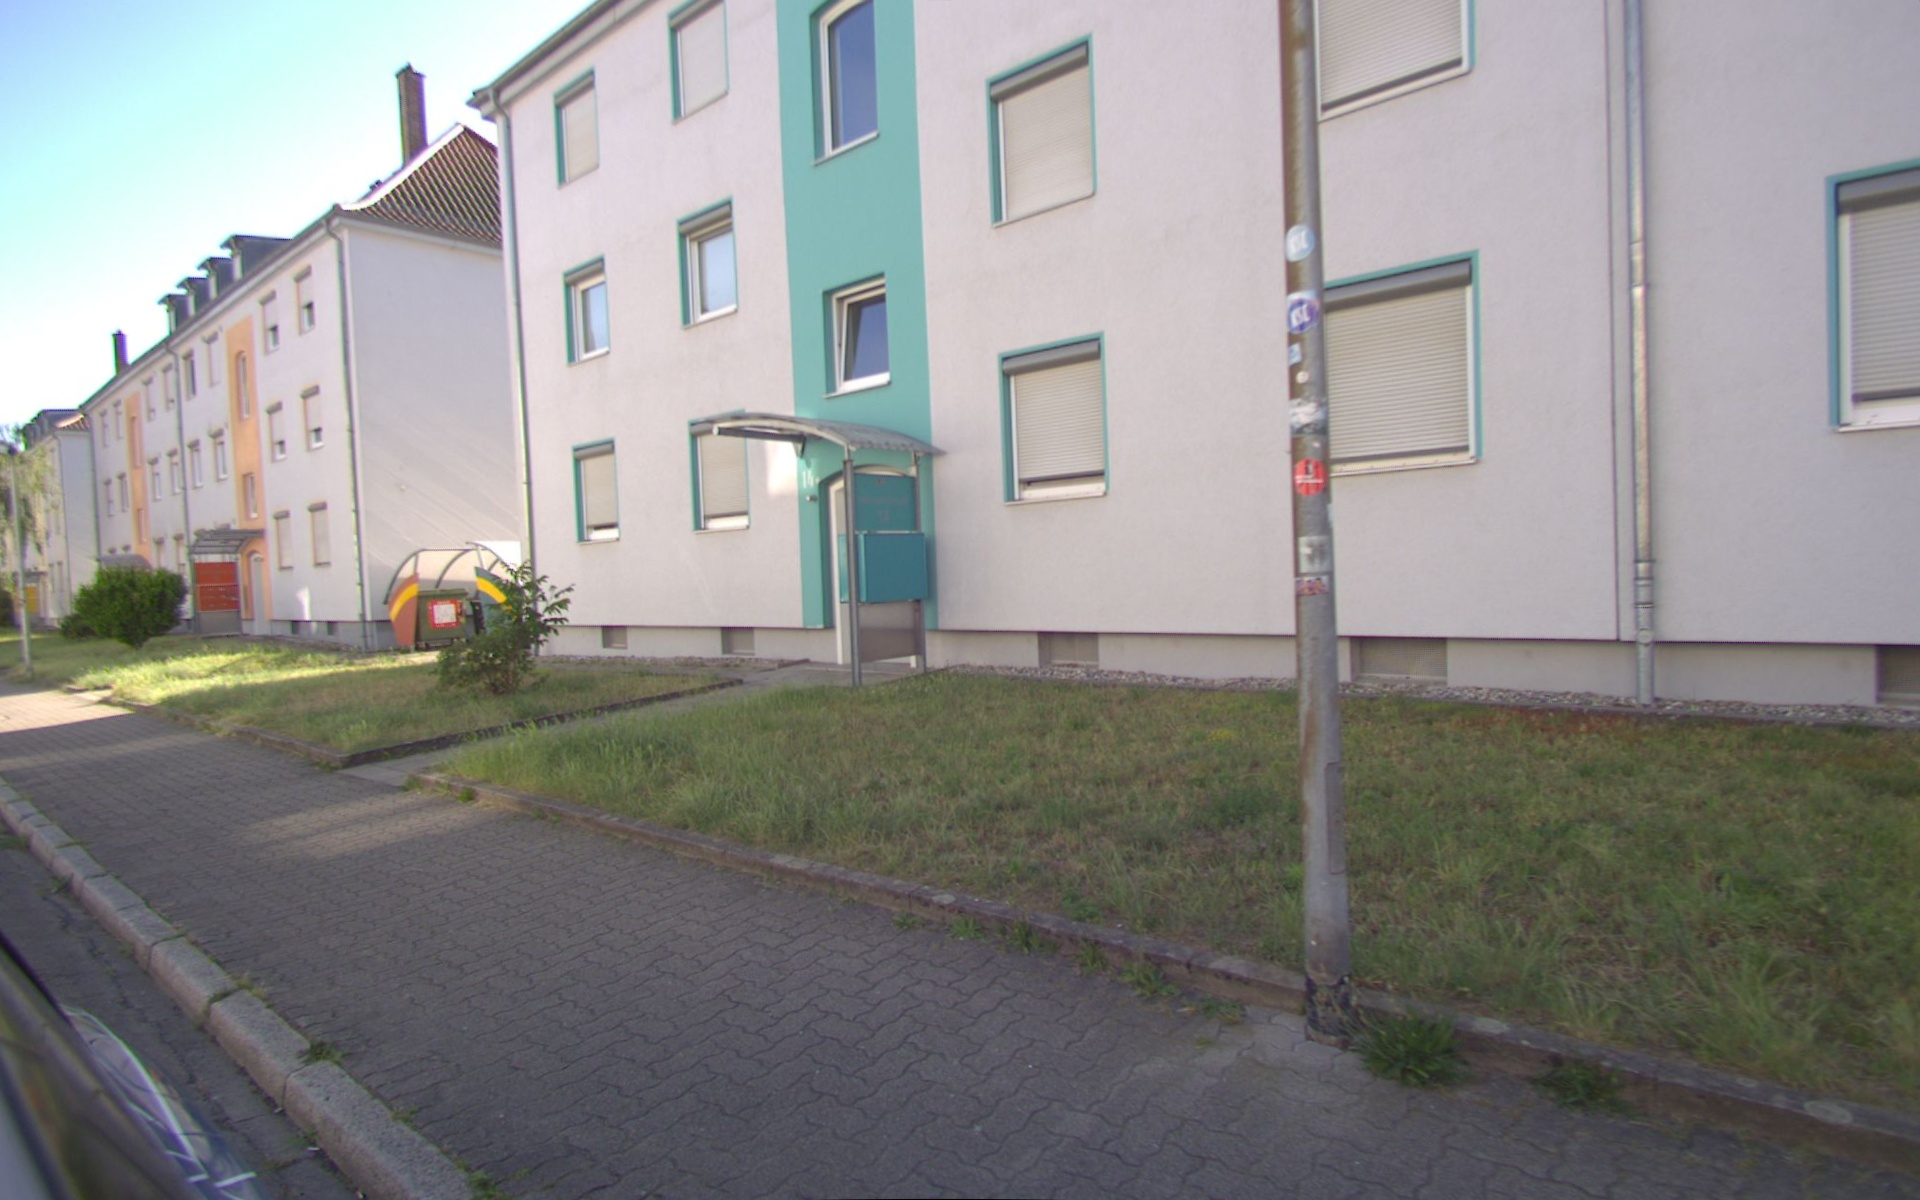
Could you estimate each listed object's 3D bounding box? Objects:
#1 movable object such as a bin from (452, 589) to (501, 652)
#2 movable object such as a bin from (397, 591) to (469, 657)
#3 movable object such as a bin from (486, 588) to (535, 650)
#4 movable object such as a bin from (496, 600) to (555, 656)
[{"bbox_3d":[-11.195,0.471,23.432,0.762,1.403,0.743,-2,1,41],"label":"movable object such as a bin"},{"bbox_3d":[-11.779,0.519,22.625,0.877,1.403,1.152,-2,1,41],"label":"movable object such as a bin"},{"bbox_3d":[-10.666,0.443,24.020,0.762,1.403,0.743,-2,1,41],"label":"movable object such as a bin"},{"bbox_3d":[-8.237,0.523,19.176,0.762,1.020,0.743,-2,1,41],"label":"movable object such as a bin"}]
